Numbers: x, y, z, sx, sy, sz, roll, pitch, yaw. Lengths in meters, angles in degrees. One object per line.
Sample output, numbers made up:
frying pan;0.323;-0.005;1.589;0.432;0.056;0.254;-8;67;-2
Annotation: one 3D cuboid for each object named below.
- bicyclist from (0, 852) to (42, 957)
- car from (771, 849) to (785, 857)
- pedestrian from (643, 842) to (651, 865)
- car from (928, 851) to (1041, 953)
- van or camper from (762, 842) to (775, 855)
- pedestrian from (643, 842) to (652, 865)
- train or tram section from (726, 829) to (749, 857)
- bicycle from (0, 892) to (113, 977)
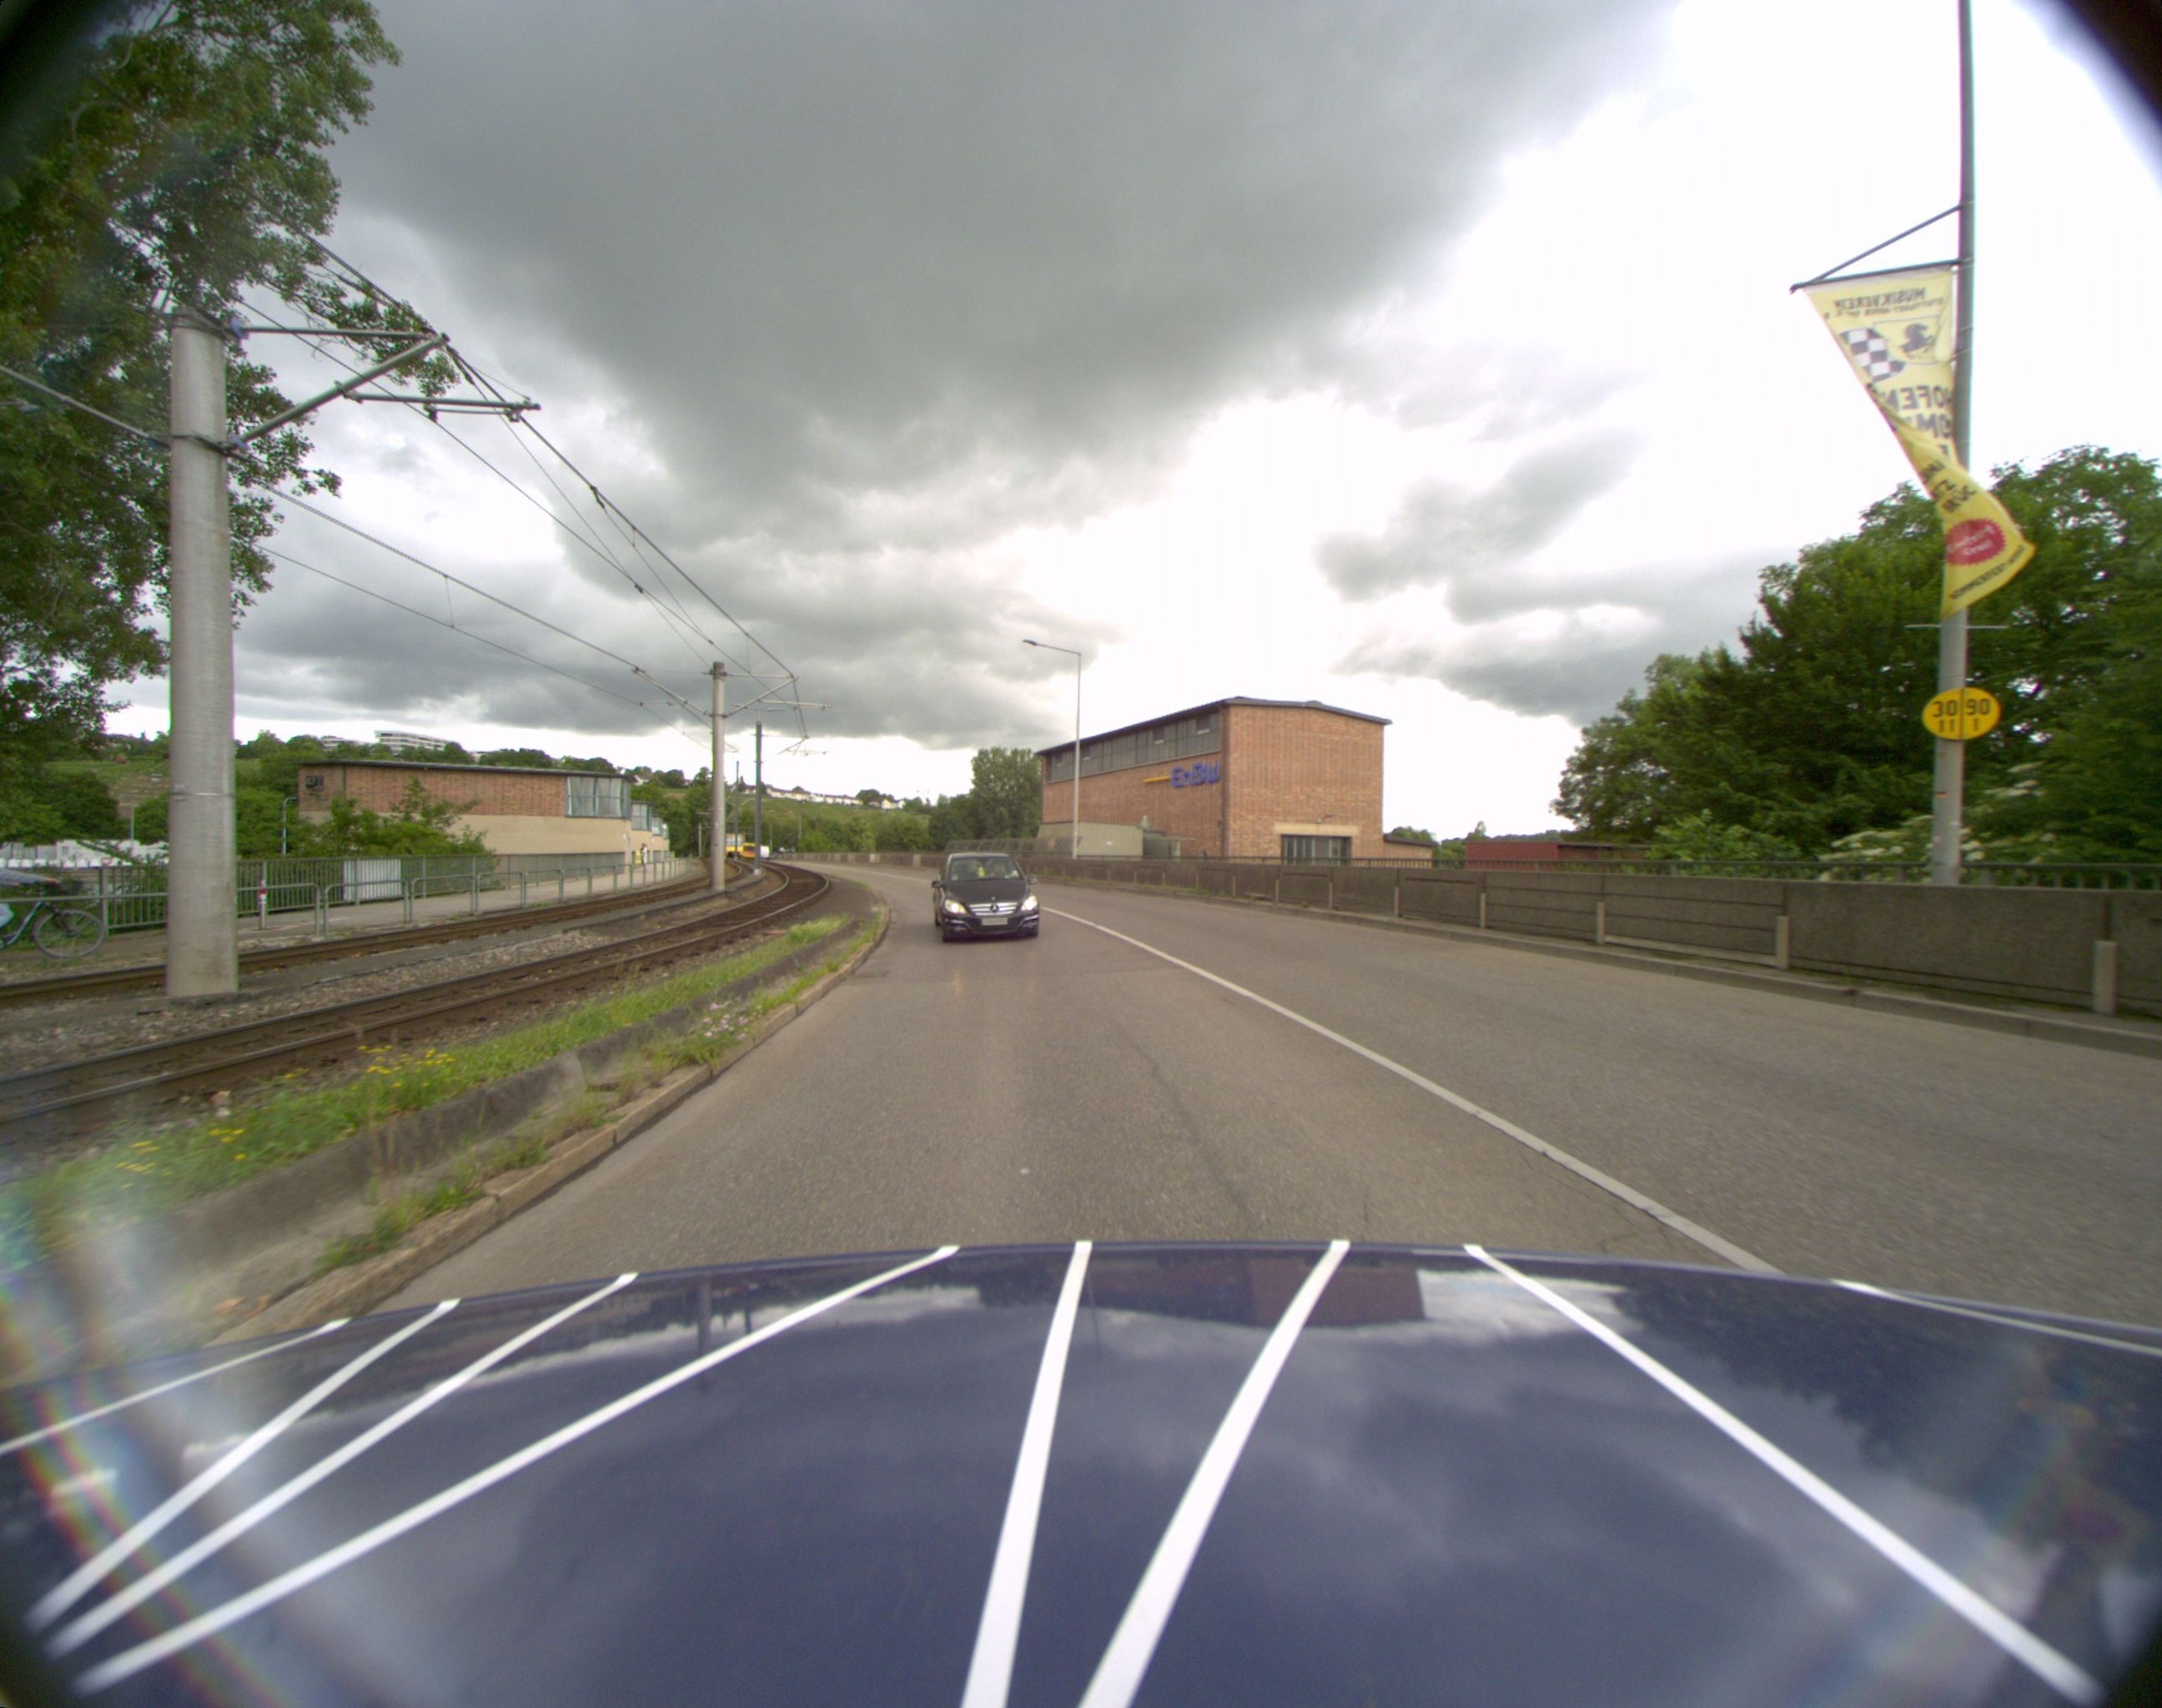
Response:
bicyclist;-14.370;0.664;9.820;0.594;1.352;0.911;-1;0;13
car;-65.144;-0.226;163.395;2.000;1.565;3.995;-1;2;-9
pedestrian;-31.310;-0.043;54.836;0.512;1.655;0.351;0;1;-31
car;-1.914;0.811;14.955;1.862;1.612;3.996;-2;1;-8
van or camper;-61.460;-1.138;149.274;2.160;2.461;4.700;-1;1;-24
pedestrian;-31.115;-0.036;54.504;0.512;1.655;0.351;0;1;-31
train or tram section;-51.342;-1.635;113.508;3.036;3.896;9.422;0;1;-24
bicycle;-14.315;1.081;9.905;0.426;1.044;2.082;-1;0;13
